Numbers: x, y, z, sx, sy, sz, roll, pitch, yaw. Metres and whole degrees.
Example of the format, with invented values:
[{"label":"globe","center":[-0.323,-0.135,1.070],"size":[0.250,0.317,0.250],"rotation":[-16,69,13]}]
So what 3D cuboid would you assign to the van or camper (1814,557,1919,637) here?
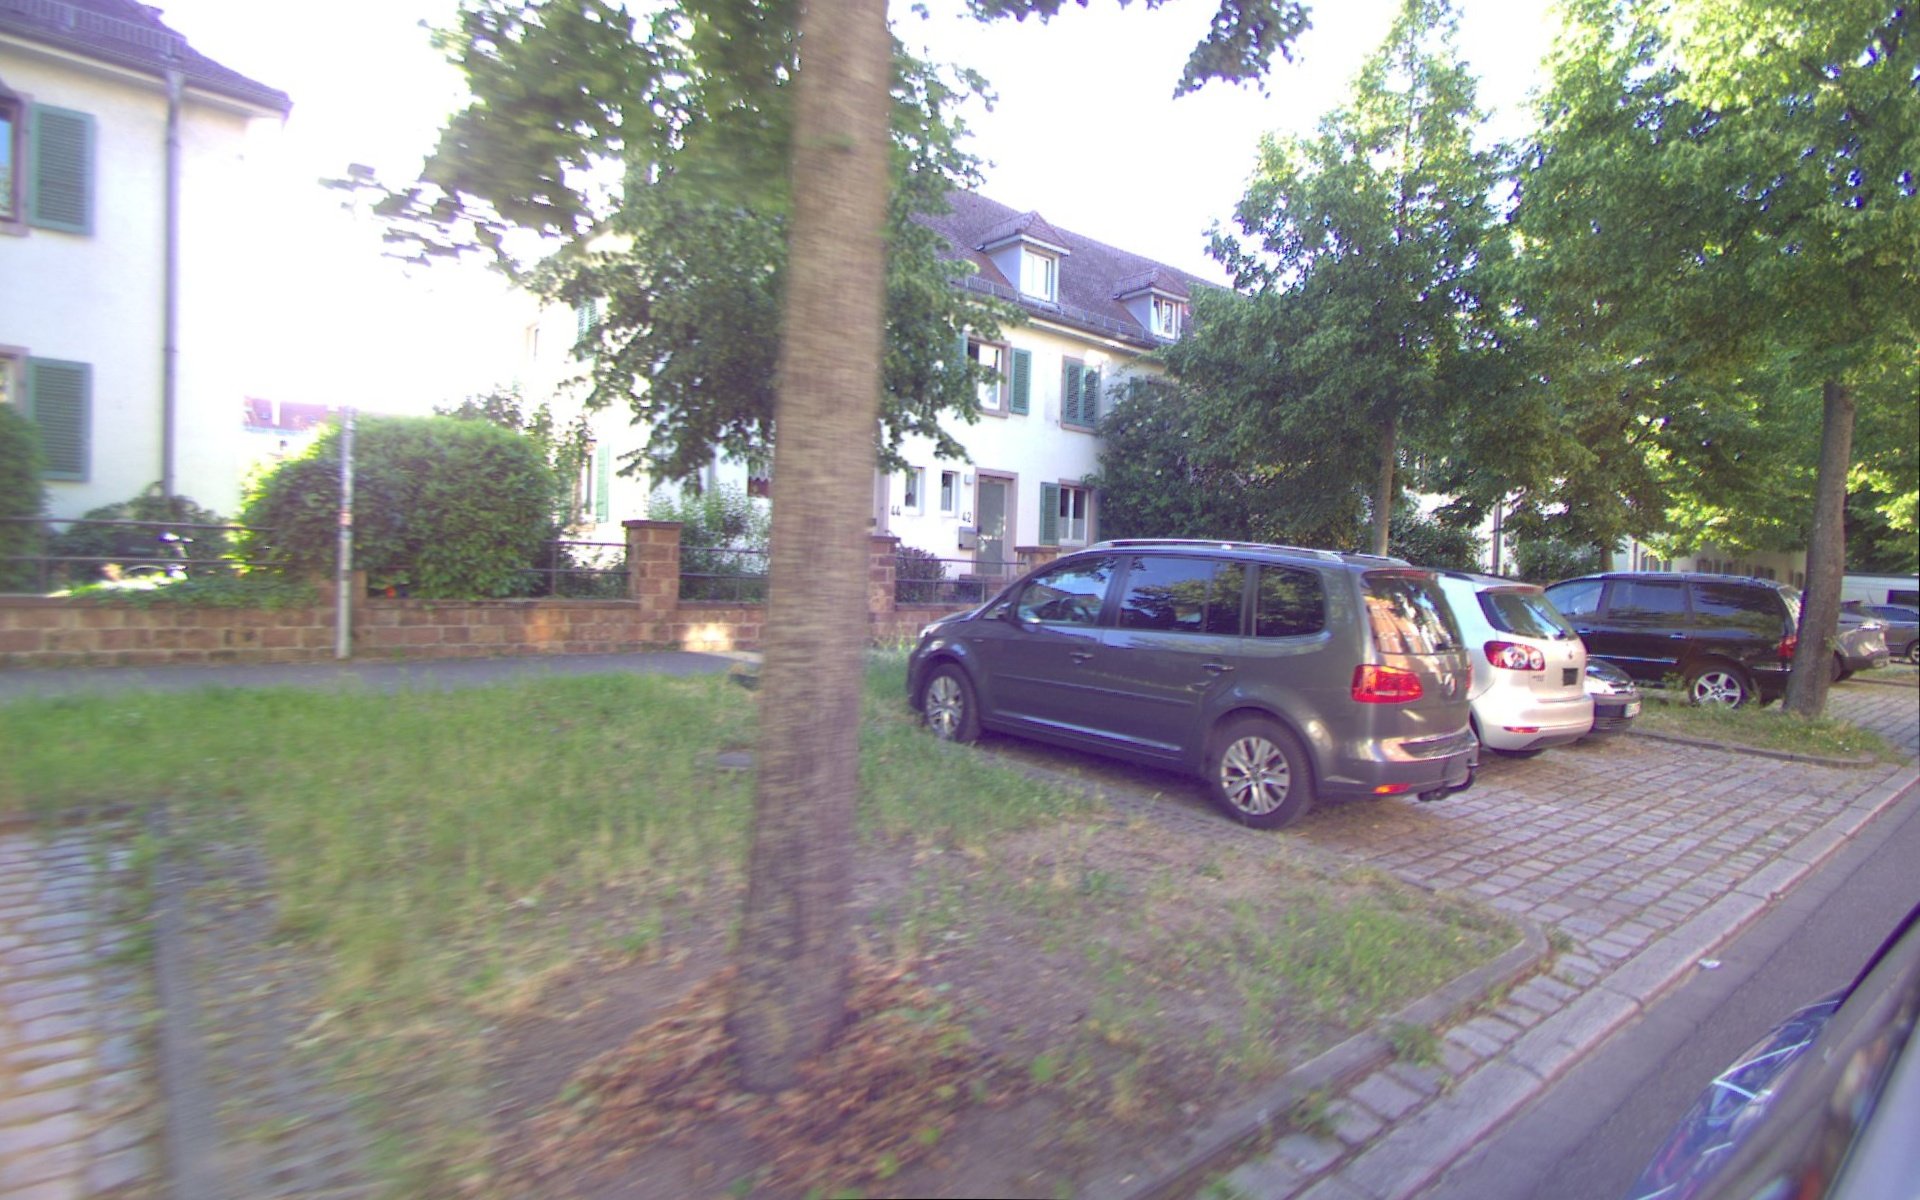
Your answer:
[{"label":"van or camper","center":[33.610,0.011,35.062],"size":[2.124,2.546,5.735],"rotation":[1,5,-41]}]

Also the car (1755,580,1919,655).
[{"label":"car","center":[23.832,0.493,26.139],"size":[1.862,1.557,4.849],"rotation":[1,5,-42]}]

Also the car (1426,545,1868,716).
[{"label":"car","center":[9.211,0.266,13.970],"size":[1.872,1.697,4.597],"rotation":[1,5,-38]}]

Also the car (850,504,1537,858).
[{"label":"car","center":[1.369,0.268,7.384],"size":[4.543,1.652,1.783],"rotation":[8,6,44]}]

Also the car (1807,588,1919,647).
[{"label":"car","center":[28.157,0.606,29.902],"size":[1.795,1.452,4.489],"rotation":[1,5,-40]}]

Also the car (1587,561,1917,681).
[{"label":"car","center":[14.605,0.291,18.894],"size":[1.842,1.652,4.487],"rotation":[1,5,-41]}]

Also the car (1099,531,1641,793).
[{"label":"car","center":[3.441,0.335,9.320],"size":[1.659,1.652,4.289],"rotation":[1,5,-37]}]

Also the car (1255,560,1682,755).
[{"label":"car","center":[5.291,0.466,10.930],"size":[1.561,1.470,3.732],"rotation":[1,5,-40]}]
